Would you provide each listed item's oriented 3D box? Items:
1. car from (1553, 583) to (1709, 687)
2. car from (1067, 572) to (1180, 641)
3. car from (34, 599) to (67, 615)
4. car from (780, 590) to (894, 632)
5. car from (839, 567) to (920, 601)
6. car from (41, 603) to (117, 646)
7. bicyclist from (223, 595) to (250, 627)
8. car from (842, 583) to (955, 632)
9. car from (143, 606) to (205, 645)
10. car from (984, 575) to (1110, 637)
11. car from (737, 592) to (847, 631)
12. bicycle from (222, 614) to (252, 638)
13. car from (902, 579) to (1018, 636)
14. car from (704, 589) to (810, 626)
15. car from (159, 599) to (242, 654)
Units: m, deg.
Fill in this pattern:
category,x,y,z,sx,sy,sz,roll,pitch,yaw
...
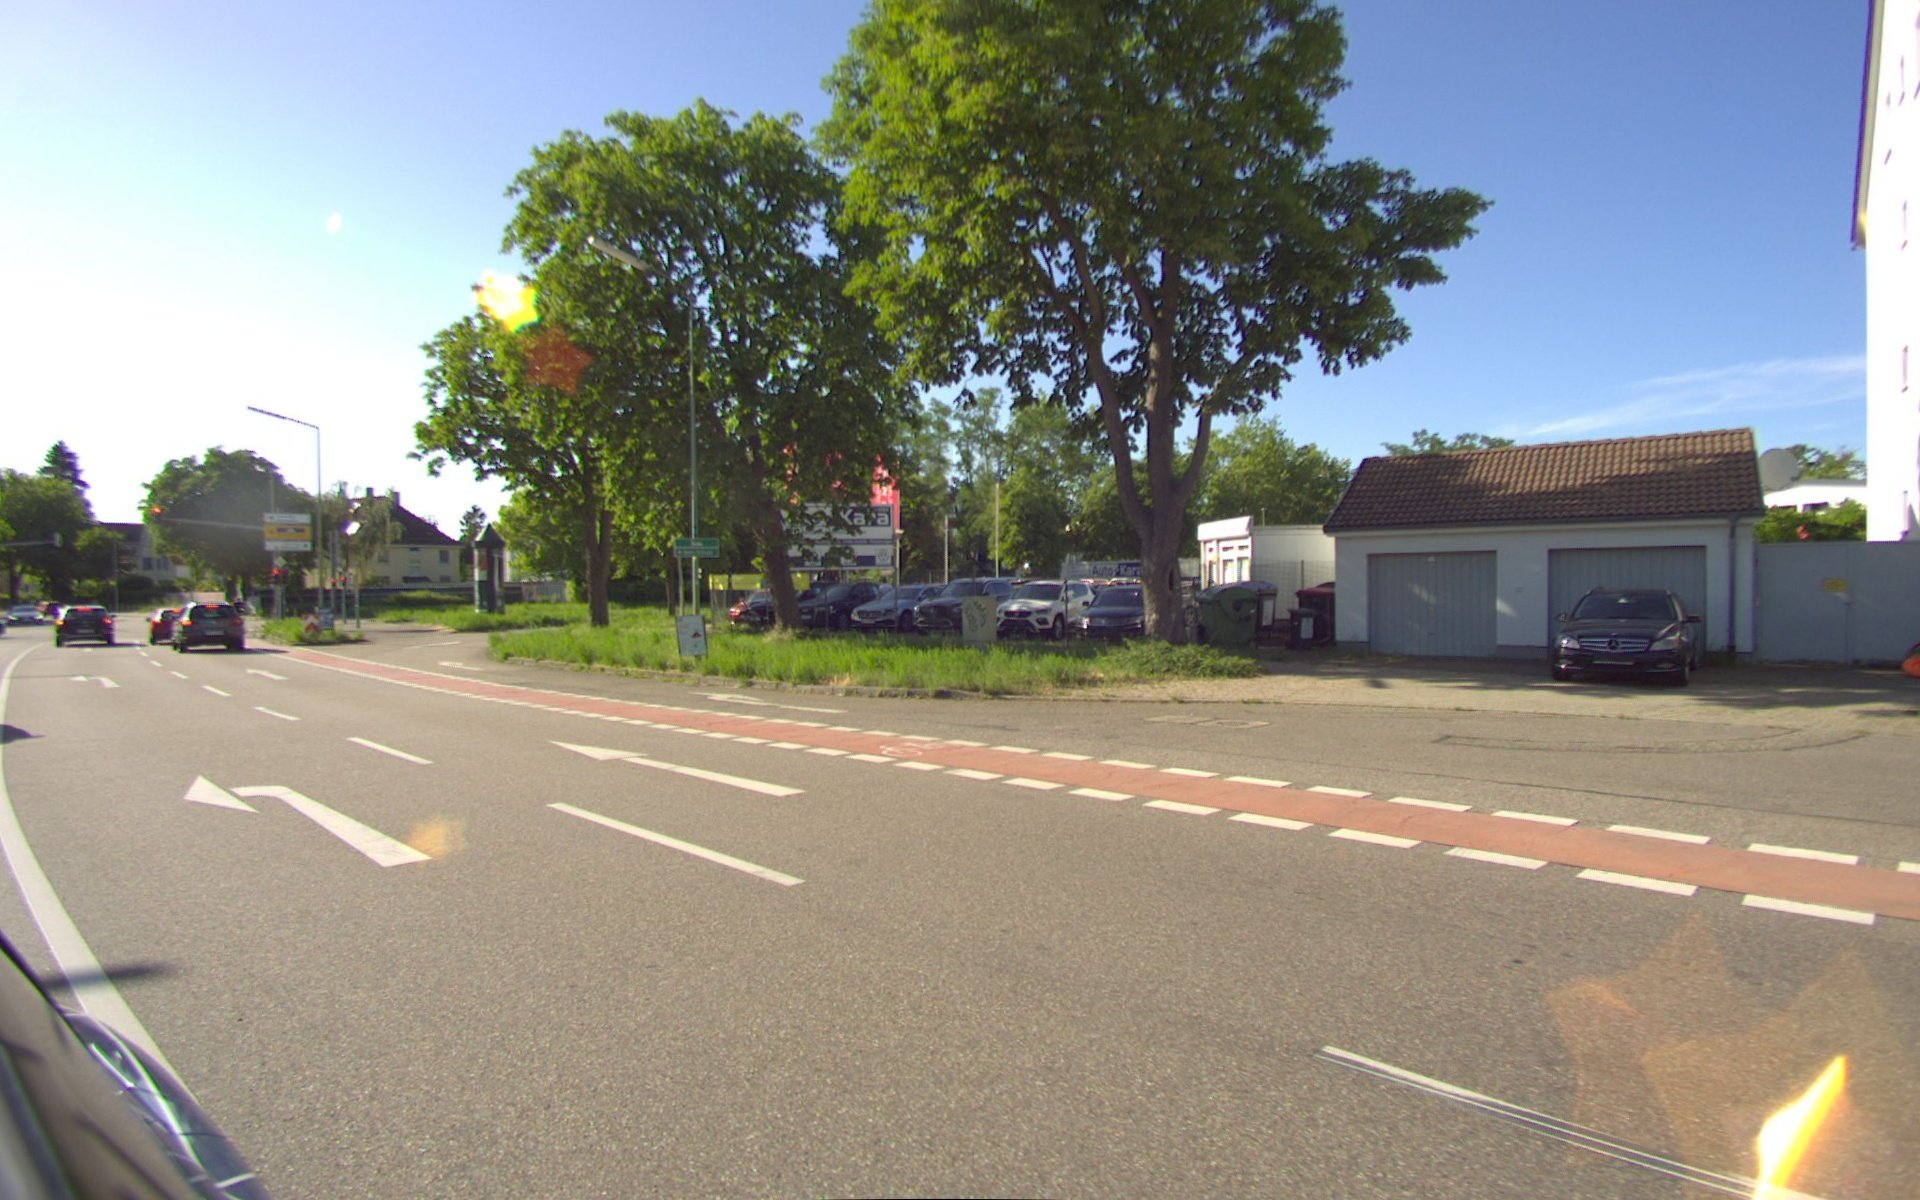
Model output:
category,x,y,z,sx,sy,sz,roll,pitch,yaw
car,10.990,0.460,16.498,1.904,1.440,3.951,1,2,36
car,4.261,0.136,25.867,1.803,1.587,4.374,-1,0,23
car,-87.147,0.680,97.015,1.832,1.480,4.149,-1,1,-34
car,-4.051,0.335,33.867,2.032,1.249,3.899,-1,0,25
car,-3.764,-0.709,46.741,1.717,1.473,4.007,-1,1,-39
car,-34.505,0.952,39.604,4.001,1.611,1.891,-2,-2,44
bicyclist,-32.859,0.497,45.966,0.921,1.412,0.824,-2,0,-40
car,-1.899,0.215,32.479,1.937,1.423,3.844,-1,0,27
car,-31.739,0.994,40.828,1.762,1.425,3.896,-1,1,-41
car,2.519,0.130,28.495,1.916,1.623,3.956,-1,0,32
car,-5.916,0.374,36.050,2.032,1.249,3.899,-1,0,25
bicycle,-32.822,1.174,45.948,0.925,1.024,2.200,-2,0,-40
car,0.084,0.187,30.629,1.989,1.572,3.966,-2,0,25
car,-8.011,0.276,40.498,2.337,1.320,5.041,-2,0,12
car,-26.285,0.894,34.978,1.831,1.749,4.274,-1,0,-43
